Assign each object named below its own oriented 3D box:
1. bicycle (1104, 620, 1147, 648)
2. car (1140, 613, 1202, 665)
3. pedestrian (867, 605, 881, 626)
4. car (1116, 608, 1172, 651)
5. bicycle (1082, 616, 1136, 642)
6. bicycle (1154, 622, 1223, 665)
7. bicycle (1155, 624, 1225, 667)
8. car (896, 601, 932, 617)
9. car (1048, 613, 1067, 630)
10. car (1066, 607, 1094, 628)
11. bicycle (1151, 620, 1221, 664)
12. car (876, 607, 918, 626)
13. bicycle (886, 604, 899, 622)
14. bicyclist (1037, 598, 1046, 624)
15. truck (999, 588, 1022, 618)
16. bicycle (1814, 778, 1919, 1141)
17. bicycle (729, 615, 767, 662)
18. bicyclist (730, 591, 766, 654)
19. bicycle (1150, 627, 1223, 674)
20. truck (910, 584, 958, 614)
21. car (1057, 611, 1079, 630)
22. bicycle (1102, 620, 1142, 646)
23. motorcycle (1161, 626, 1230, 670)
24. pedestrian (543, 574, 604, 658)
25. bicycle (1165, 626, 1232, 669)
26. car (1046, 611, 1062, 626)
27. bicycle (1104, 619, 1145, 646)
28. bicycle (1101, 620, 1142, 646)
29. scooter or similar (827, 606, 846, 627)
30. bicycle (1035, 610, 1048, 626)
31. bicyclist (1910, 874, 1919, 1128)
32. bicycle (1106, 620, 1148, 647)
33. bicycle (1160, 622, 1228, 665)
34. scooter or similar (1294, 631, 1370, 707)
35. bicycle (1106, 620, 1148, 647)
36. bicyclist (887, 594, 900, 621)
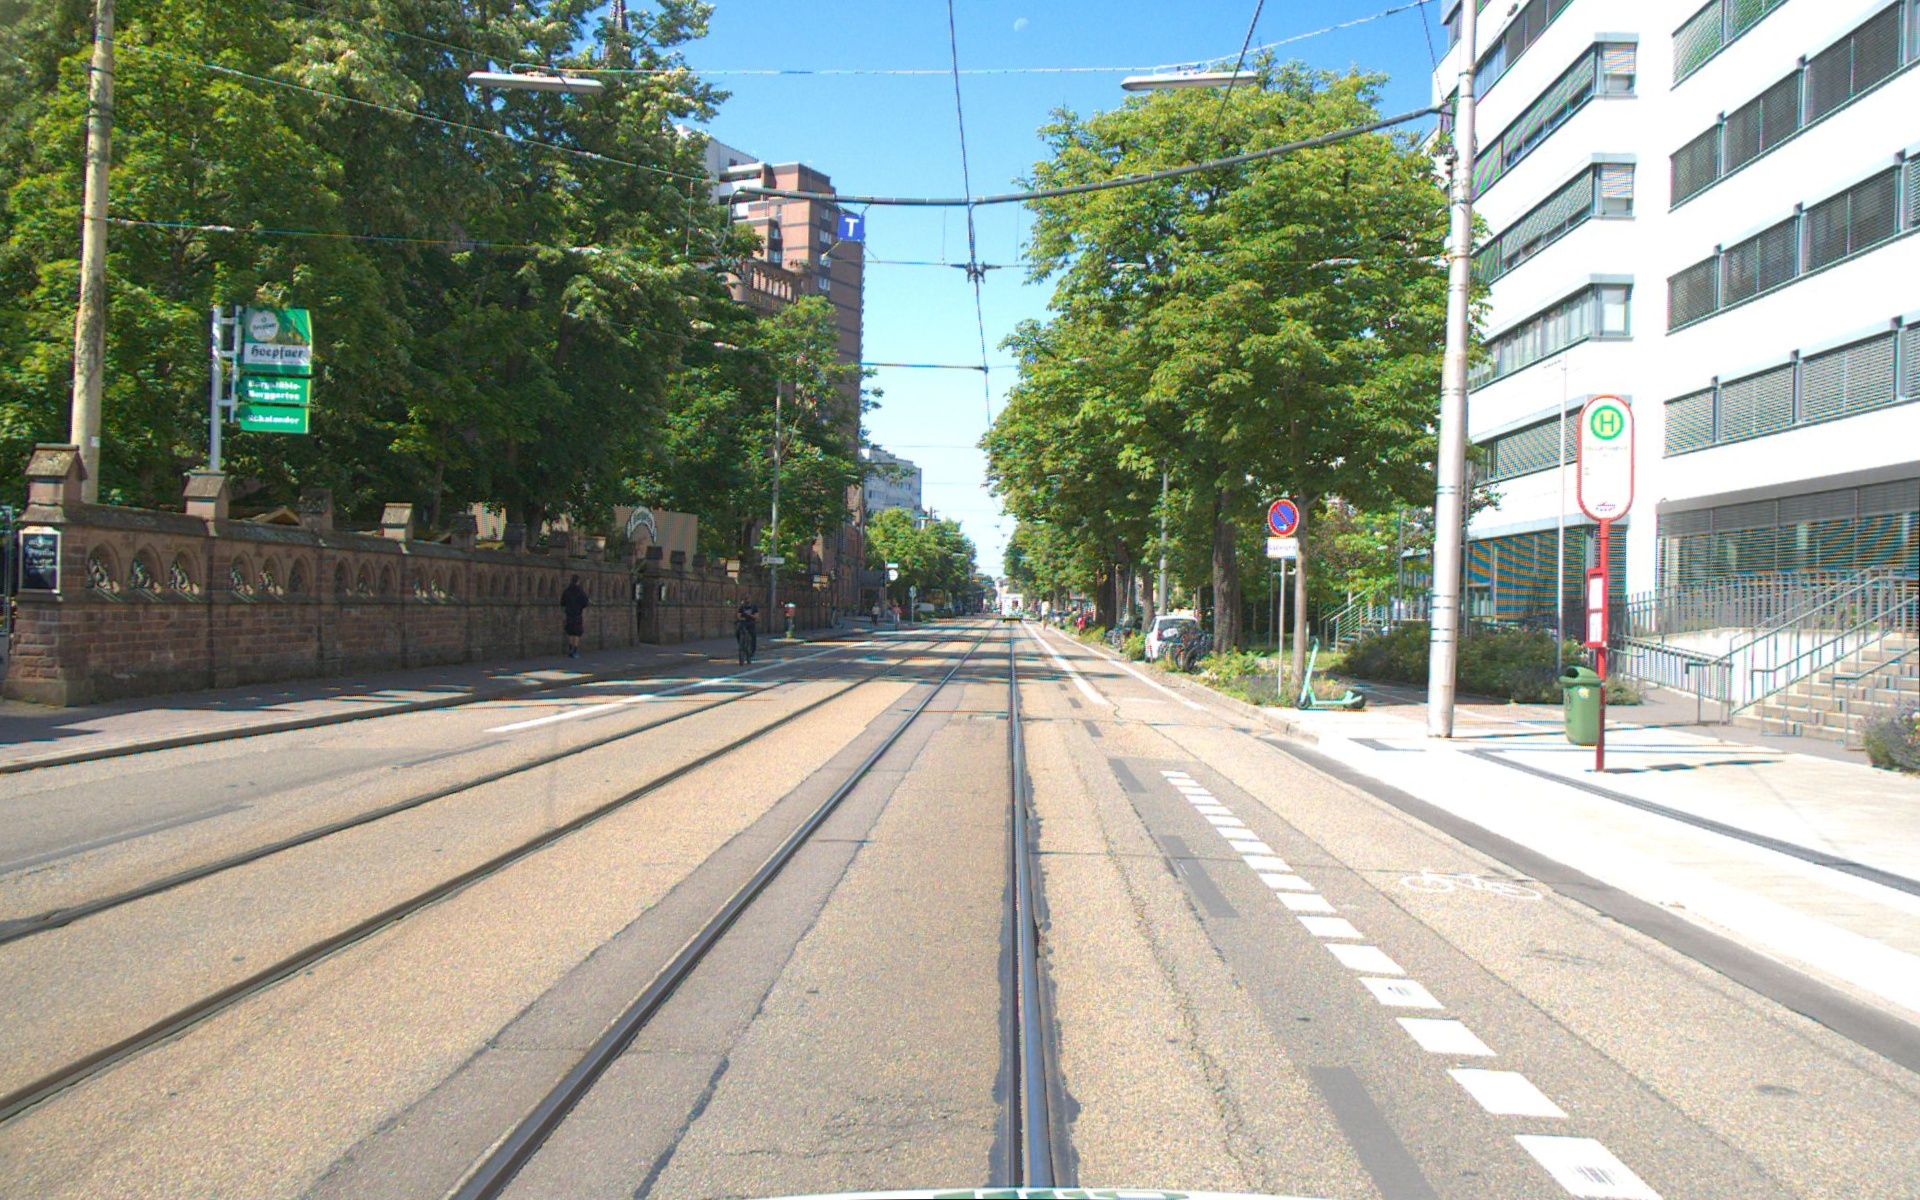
[{"bbox_3d":[6.866,1.396,68.589,1.688,1.105,0.629,1,0,1],"label":"bicycle"},{"bbox_3d":[6.444,1.164,50.798,1.596,1.498,3.631,1,0,3],"label":"car"},{"bbox_3d":[-6.322,1.111,121.264,0.866,1.538,1.473,1,-1,-7],"label":"pedestrian"},{"bbox_3d":[6.964,1.091,62.876,1.596,1.509,4.273,1,0,0],"label":"car"},{"bbox_3d":[8.362,1.609,92.792,2.964,1.355,1.042,1,-1,5],"label":"bicycle"},{"bbox_3d":[6.386,1.212,46.342,1.834,1.161,0.686,1,0,1],"label":"bicycle"},{"bbox_3d":[6.342,1.259,45.664,1.810,1.152,0.680,1,0,1],"label":"bicycle"},{"bbox_3d":[-5.663,1.090,202.741,3.942,1.780,1.981,2,-1,-29],"label":"car"},{"bbox_3d":[8.892,1.995,151.373,1.596,1.498,4.114,1,0,2],"label":"car"},{"bbox_3d":[8.113,1.149,111.802,1.596,1.378,3.901,1,0,0],"label":"car"},{"bbox_3d":[6.409,1.195,46.989,1.864,1.190,0.819,1,0,1],"label":"bicycle"},{"bbox_3d":[-6.465,1.692,169.808,3.954,1.842,1.866,2,-1,-36],"label":"car"},{"bbox_3d":[-4.359,0.852,107.515,0.648,1.174,2.014,2,0,2],"label":"bicycle"},{"bbox_3d":[5.939,0.803,120.195,0.623,1.904,1.024,1,0,1],"label":"bicyclist"},{"bbox_3d":[5.370,0.317,177.062,2.353,3.163,6.038,2,0,2],"label":"truck"},{"bbox_3d":[3.126,1.102,4.417,0.596,1.001,2.164,2,0,1],"label":"bicycle"},{"bbox_3d":[-5.382,0.966,42.092,0.579,1.125,2.055,2,0,2],"label":"bicycle"},{"bbox_3d":[-5.389,0.562,42.051,0.725,1.557,0.947,1,-1,2],"label":"bicyclist"},{"bbox_3d":[5.552,1.233,40.647,1.688,1.105,0.789,1,0,1],"label":"bicycle"},{"bbox_3d":[-3.578,-0.110,231.638,2.756,3.927,9.996,1,-1,23],"label":"truck"},{"bbox_3d":[8.694,1.660,133.479,1.596,1.498,4.114,1,0,2],"label":"car"},{"bbox_3d":[7.062,1.446,72.091,1.688,1.105,0.478,1,0,1],"label":"bicycle"},{"bbox_3d":[6.097,1.234,42.851,1.688,1.105,0.658,1,0,1],"label":"motorcycle"},{"bbox_3d":[-9.026,0.378,38.630,0.956,1.847,1.185,5,0,2],"label":"pedestrian"},{"bbox_3d":[6.378,1.255,44.247,1.688,1.105,0.640,1,0,1],"label":"bicycle"},{"bbox_3d":[10.089,1.989,176.975,1.596,1.498,4.114,1,0,2],"label":"car"},{"bbox_3d":[6.995,1.399,70.474,1.688,1.105,0.589,1,0,1],"label":"bicycle"},{"bbox_3d":[6.978,1.436,71.553,1.688,1.105,0.615,1,0,1],"label":"bicycle"},{"bbox_3d":[-7.036,0.948,94.532,0.328,1.149,1.180,1,-1,40],"label":"scooter or similar"},{"bbox_3d":[5.915,1.304,120.002,0.838,1.129,2.140,2,0,1],"label":"bicycle"},{"bbox_3d":[3.190,0.681,4.394,0.701,1.754,0.988,3,0,0],"label":"bicyclist"},{"bbox_3d":[7.048,1.403,69.891,1.688,1.105,0.570,1,0,1],"label":"bicycle"},{"bbox_3d":[6.370,1.185,45.135,1.755,1.105,0.726,1,0,1],"label":"bicycle"},{"bbox_3d":[6.054,1.112,26.923,1.102,1.187,0.676,1,0,4],"label":"scooter or similar"},{"bbox_3d":[6.994,1.401,69.245,1.688,1.105,0.697,1,0,1],"label":"bicycle"},{"bbox_3d":[-4.319,0.493,107.550,0.710,1.728,1.147,1,0,1],"label":"bicyclist"}]
